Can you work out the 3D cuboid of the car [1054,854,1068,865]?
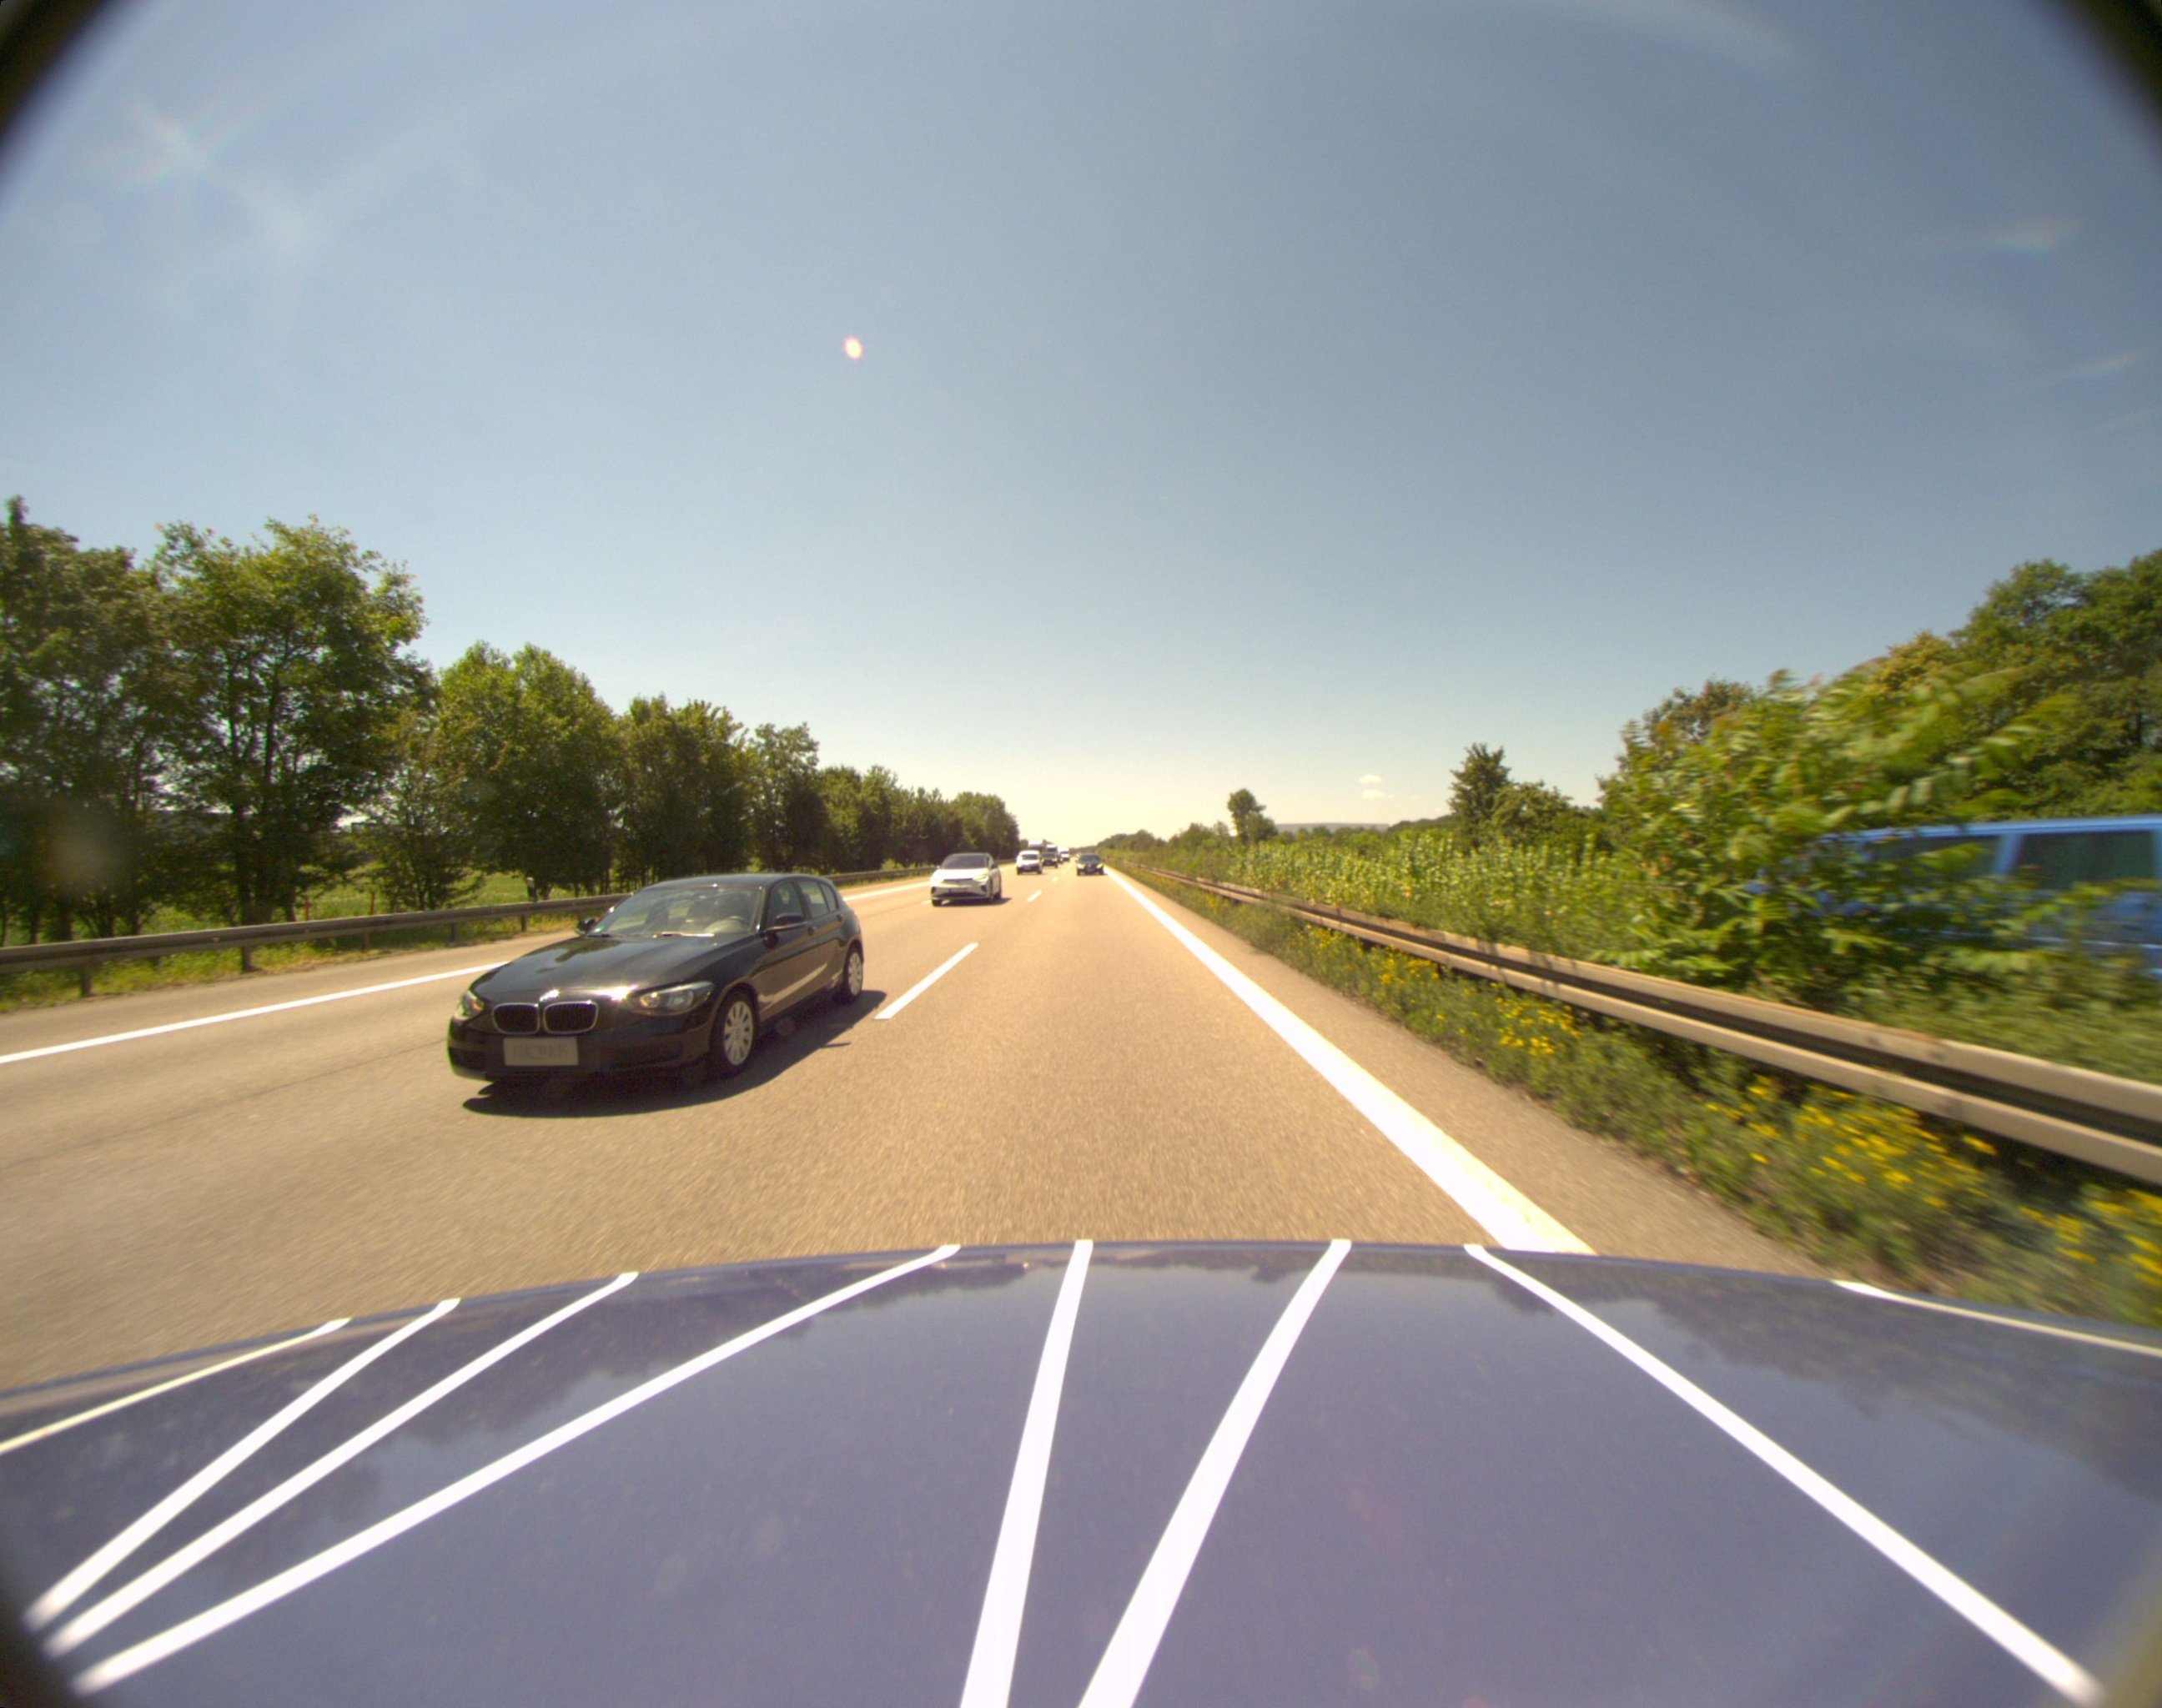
[{"bbox_3d":[-2.845,0.740,107.217,1.887,1.557,4.466,-1,0,-2],"label":"car"}]

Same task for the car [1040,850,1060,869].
[{"bbox_3d":[-3.257,0.572,81.722,1.887,1.861,4.467,-1,0,1],"label":"car"}]

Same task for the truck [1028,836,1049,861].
[{"bbox_3d":[-7.202,-0.924,130.523,2.797,4.180,10.806,-1,0,1],"label":"truck"}]

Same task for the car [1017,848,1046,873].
[{"bbox_3d":[-3.800,0.457,58.958,1.887,1.861,4.467,-1,0,1],"label":"car"}]

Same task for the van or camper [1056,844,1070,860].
[{"bbox_3d":[-3.207,-0.364,134.491,2.198,2.796,6.999,-1,0,1],"label":"van or camper"}]

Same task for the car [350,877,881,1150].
[{"bbox_3d":[-3.318,1.007,6.696,1.841,1.409,4.497,-1,0,1],"label":"car"}]

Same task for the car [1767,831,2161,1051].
[{"bbox_3d":[9.096,0.642,6.997,1.955,1.641,4.000,0,1,1],"label":"car"}]

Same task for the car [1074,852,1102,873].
[{"bbox_3d":[0.487,0.588,52.484,1.887,1.341,4.467,-1,0,1],"label":"car"}]

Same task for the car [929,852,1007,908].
[{"bbox_3d":[-3.601,0.785,24.966,1.887,1.634,4.000,-1,0,1],"label":"car"}]

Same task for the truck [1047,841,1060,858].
[{"bbox_3d":[-6.919,-1.045,193.785,2.797,4.180,10.806,-1,0,1],"label":"truck"}]
